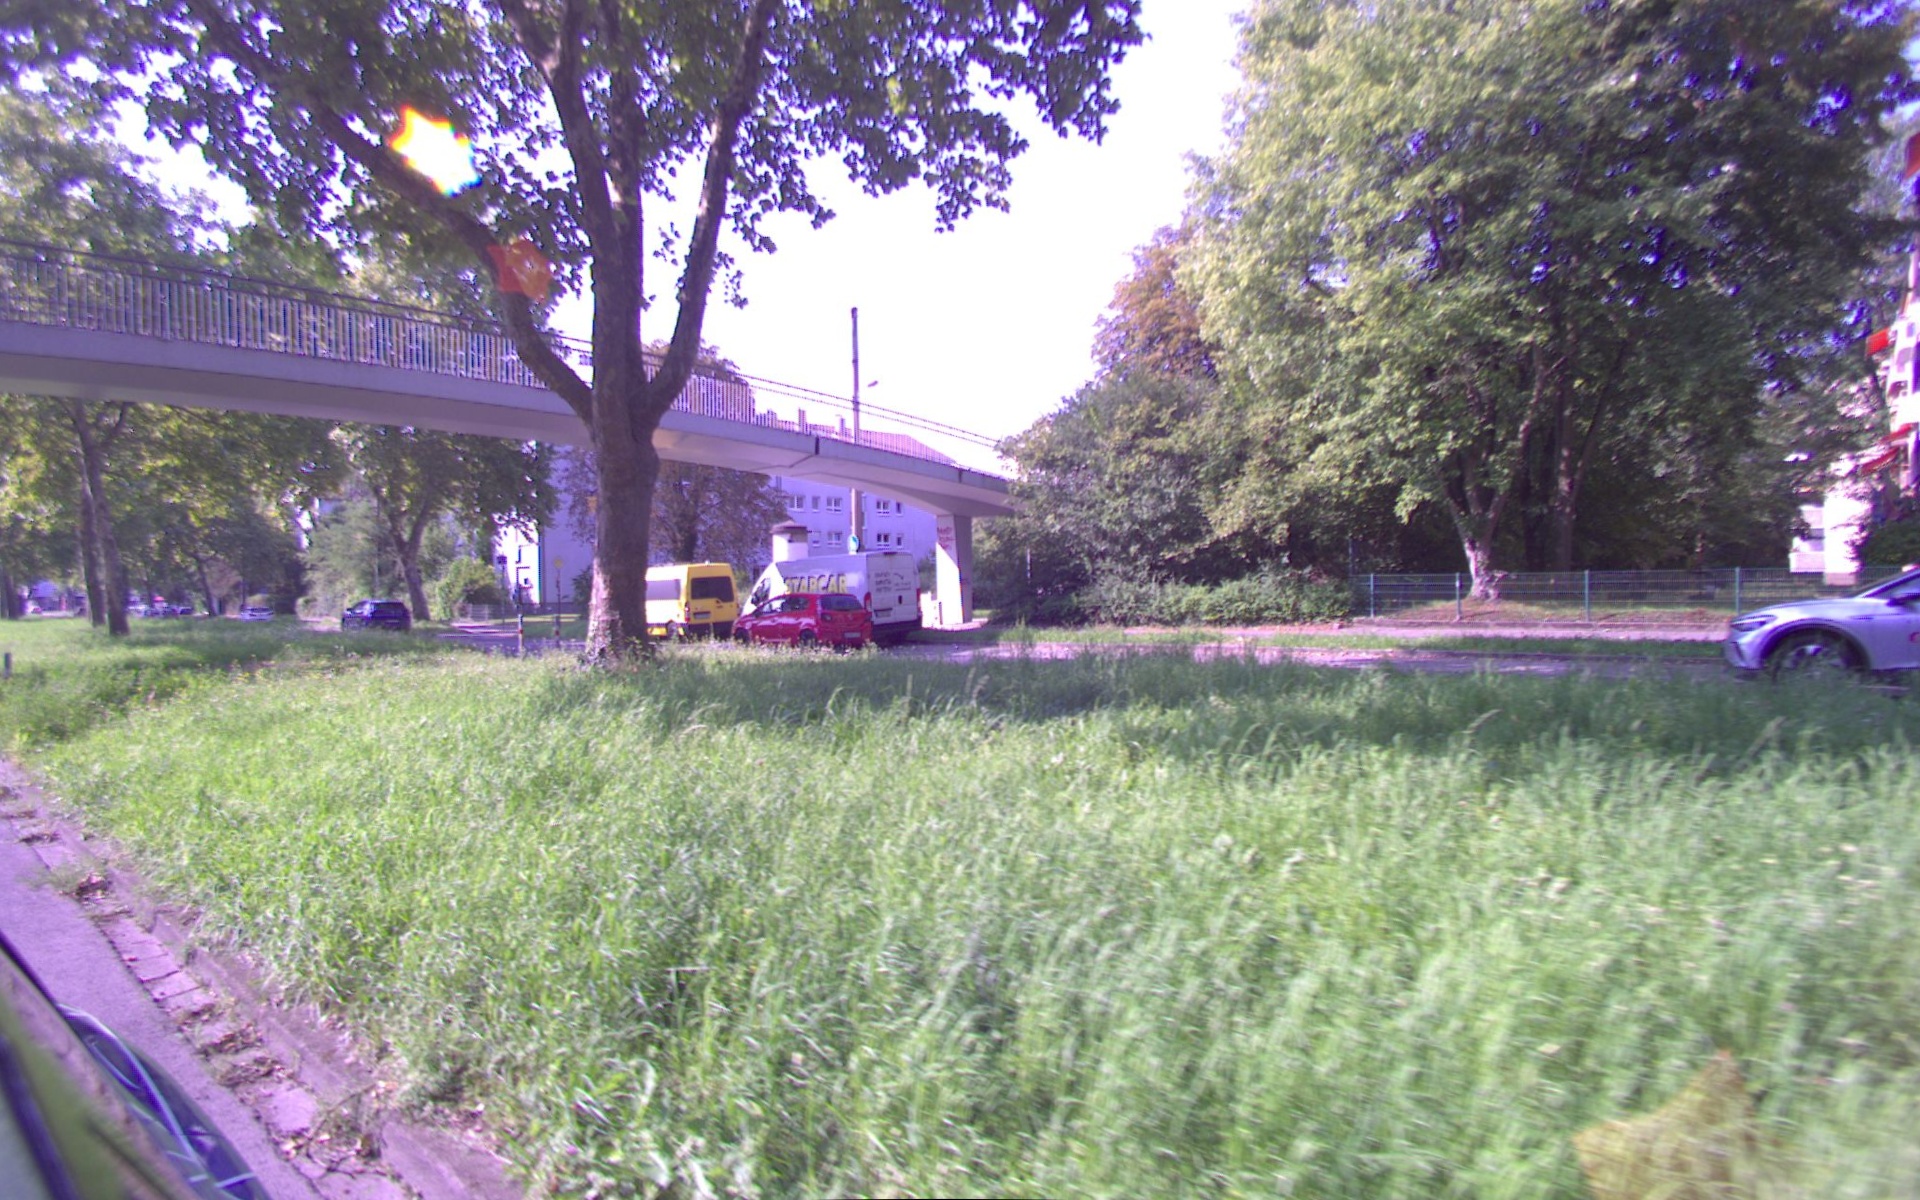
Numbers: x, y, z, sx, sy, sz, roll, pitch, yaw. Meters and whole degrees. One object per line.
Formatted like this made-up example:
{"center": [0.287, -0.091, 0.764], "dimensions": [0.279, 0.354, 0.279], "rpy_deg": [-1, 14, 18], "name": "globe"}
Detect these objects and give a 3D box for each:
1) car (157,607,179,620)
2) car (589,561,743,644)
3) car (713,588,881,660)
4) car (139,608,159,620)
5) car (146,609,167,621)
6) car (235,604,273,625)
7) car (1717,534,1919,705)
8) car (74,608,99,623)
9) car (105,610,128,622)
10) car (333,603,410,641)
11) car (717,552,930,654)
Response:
{"center": [-86.861, 1.429, 111.012], "dimensions": [1.590, 1.301, 3.526], "rpy_deg": [-2, 2, -43], "name": "car"}
{"center": [-9.833, 0.045, 33.539], "dimensions": [6.063, 2.498, 2.183], "rpy_deg": [0, 2, 45], "name": "car"}
{"center": [-3.927, 0.536, 24.084], "dimensions": [4.066, 1.544, 1.674], "rpy_deg": [-1, 1, 40], "name": "car"}
{"center": [-98.614, 1.711, 123.094], "dimensions": [1.590, 1.417, 3.526], "rpy_deg": [-1, 0, -43], "name": "car"}
{"center": [-94.956, 1.738, 119.614], "dimensions": [1.590, 1.301, 3.526], "rpy_deg": [-2, 2, -43], "name": "car"}
{"center": [-52.816, 1.060, 75.660], "dimensions": [3.900, 1.490, 1.627], "rpy_deg": [0, 2, 45], "name": "car"}
{"center": [10.817, 0.172, 10.415], "dimensions": [4.717, 1.733, 1.783], "rpy_deg": [-1, 0, 41], "name": "car"}
{"center": [-99.788, 1.727, 115.591], "dimensions": [4.859, 1.628, 1.755], "rpy_deg": [0, 2, 45], "name": "car"}
{"center": [-98.539, 1.895, 118.206], "dimensions": [3.899, 1.374, 1.627], "rpy_deg": [-1, 1, 43], "name": "car"}
{"center": [-26.201, 0.954, 45.022], "dimensions": [4.457, 1.544, 1.768], "rpy_deg": [0, 2, 44], "name": "car"}
{"center": [-3.905, 0.052, 27.981], "dimensions": [6.263, 2.447, 2.185], "rpy_deg": [0, 3, 42], "name": "car"}
